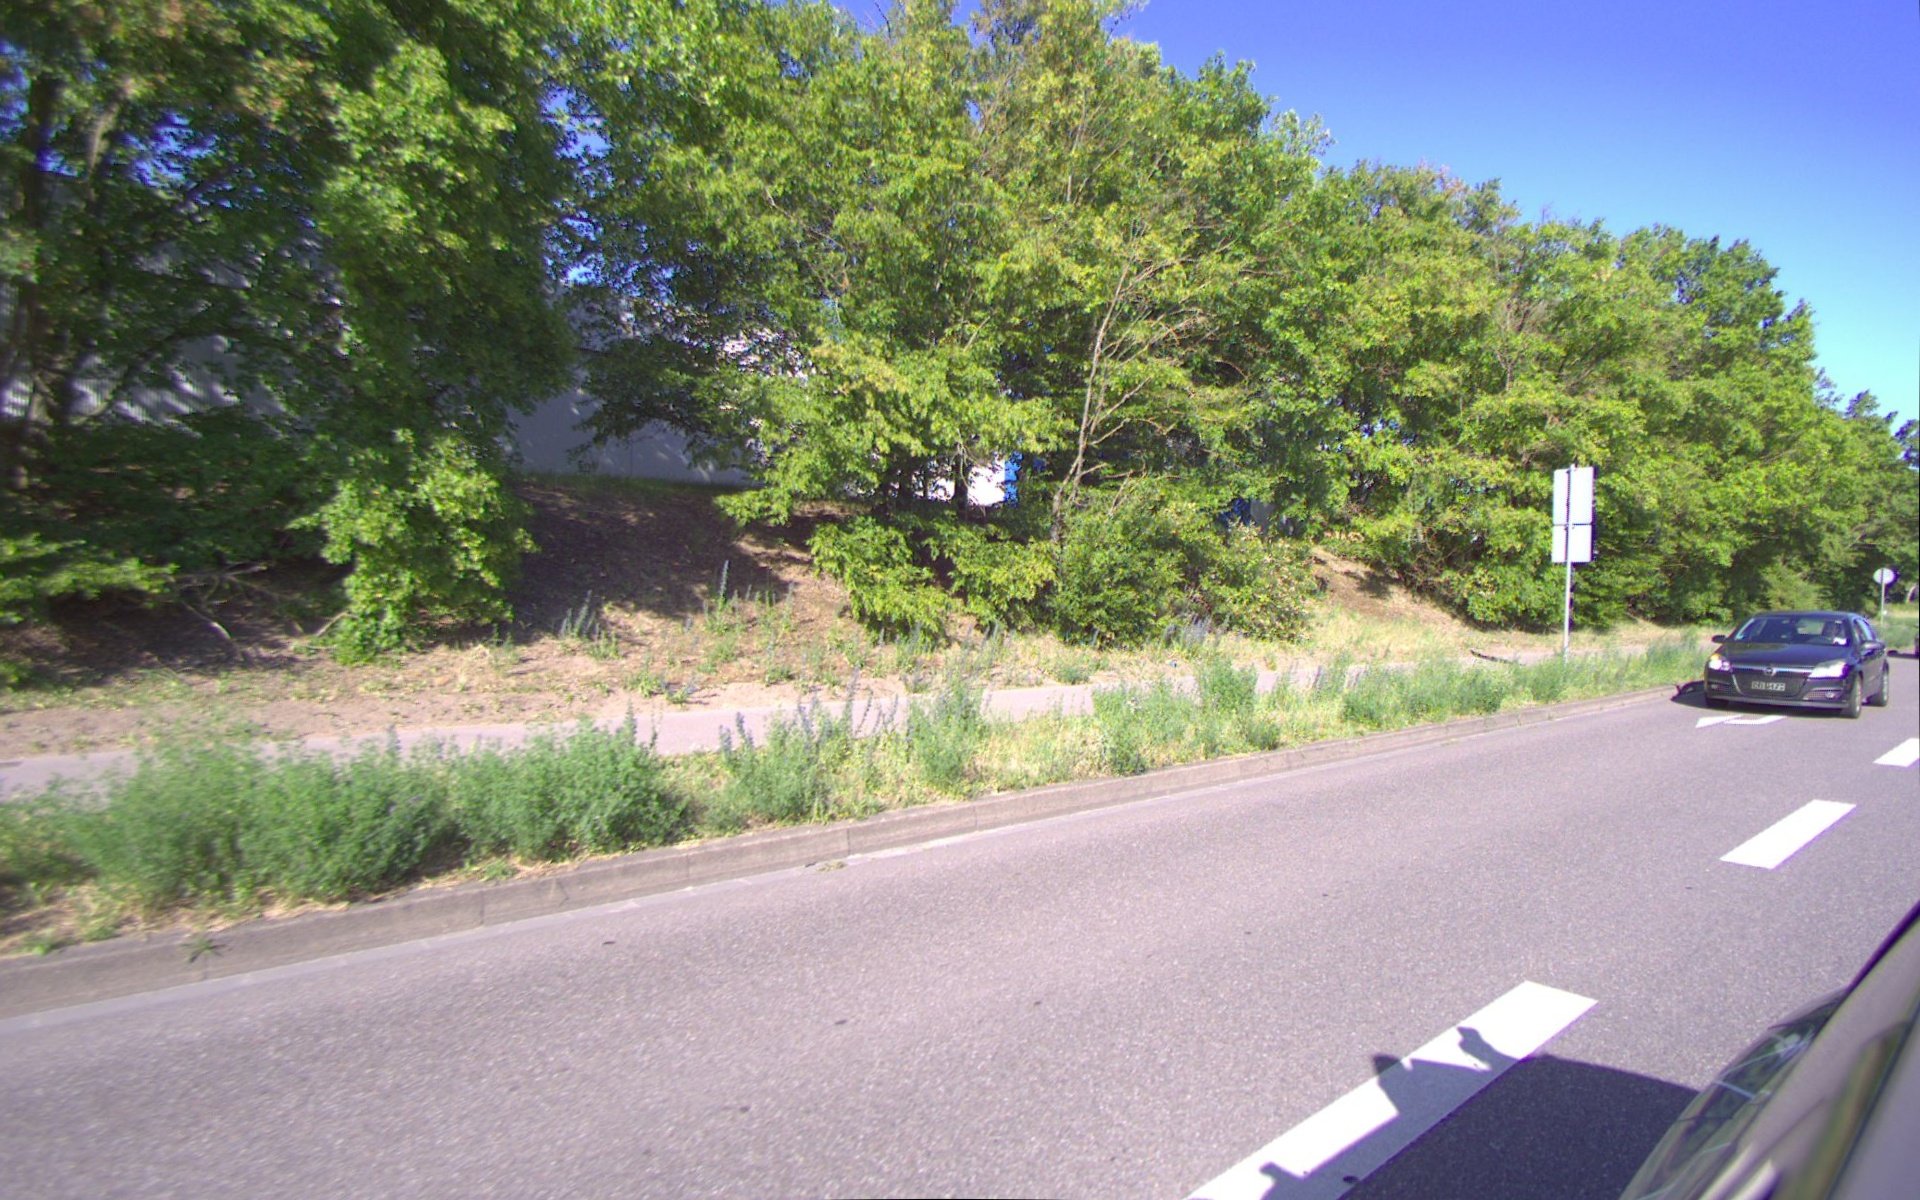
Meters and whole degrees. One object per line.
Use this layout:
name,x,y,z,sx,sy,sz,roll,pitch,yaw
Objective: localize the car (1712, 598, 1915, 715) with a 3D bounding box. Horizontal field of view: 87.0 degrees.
car,12.720,0.738,15.011,3.890,1.473,1.706,0,1,-41
